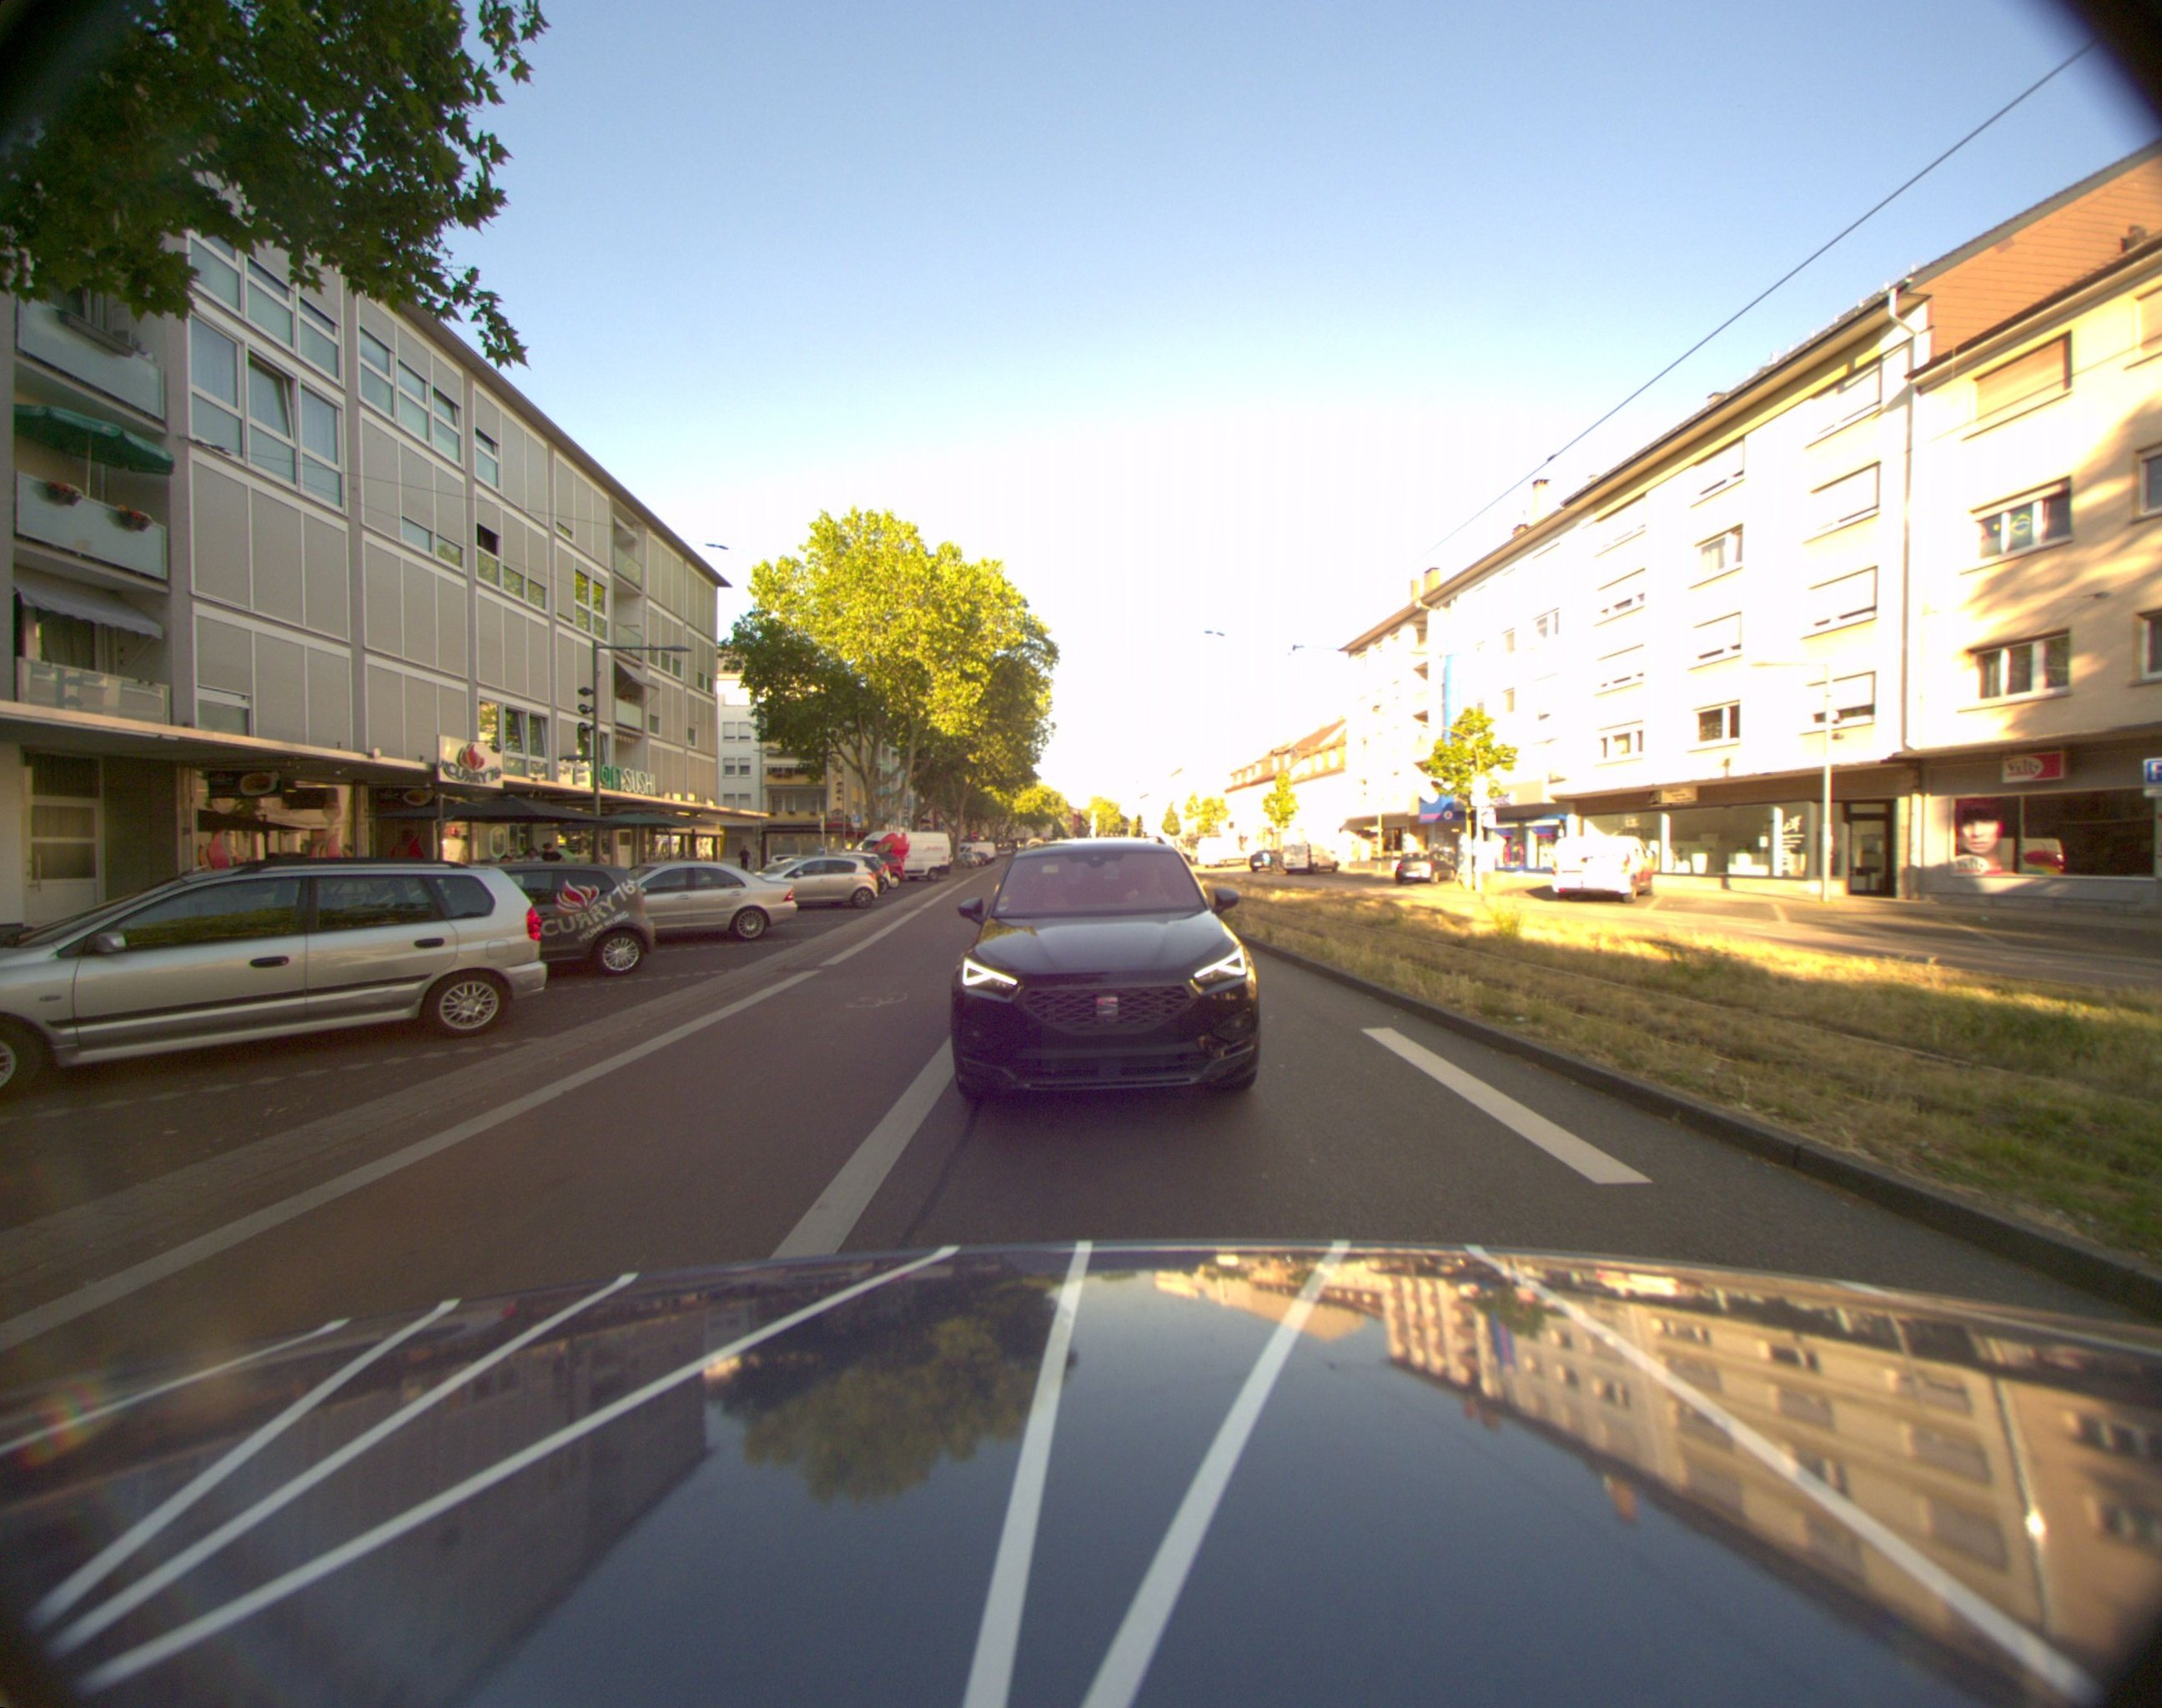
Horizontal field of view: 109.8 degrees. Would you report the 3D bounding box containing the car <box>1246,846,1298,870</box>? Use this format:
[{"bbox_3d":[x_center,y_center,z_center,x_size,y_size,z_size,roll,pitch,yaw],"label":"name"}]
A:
[{"bbox_3d":[13.751,0.285,54.667,1.874,1.577,4.008,-1,1,43],"label":"car"}]

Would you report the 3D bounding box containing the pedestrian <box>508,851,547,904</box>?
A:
[{"bbox_3d":[-15.002,0.639,20.598,0.538,1.392,0.686,2,1,-5],"label":"pedestrian"}]

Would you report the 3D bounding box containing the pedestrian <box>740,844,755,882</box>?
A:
[{"bbox_3d":[-17.922,0.470,40.839,0.578,2.002,0.551,-3,1,-33],"label":"pedestrian"}]

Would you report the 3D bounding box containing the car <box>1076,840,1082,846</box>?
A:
[{"bbox_3d":[-0.575,-3.080,211.518,1.740,1.539,3.999,0,1,0],"label":"car"}]

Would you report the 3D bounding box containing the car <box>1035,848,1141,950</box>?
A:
[{"bbox_3d":[0.065,0.687,13.861,1.659,1.571,3.999,0,1,-1],"label":"car"}]

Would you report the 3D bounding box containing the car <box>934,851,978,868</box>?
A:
[{"bbox_3d":[-10.554,0.475,64.246,3.337,1.339,1.526,0,2,-44],"label":"car"}]

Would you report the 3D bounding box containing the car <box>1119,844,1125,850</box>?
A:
[{"bbox_3d":[12.280,-2.182,228.806,1.869,1.832,3.826,0,1,2],"label":"car"}]

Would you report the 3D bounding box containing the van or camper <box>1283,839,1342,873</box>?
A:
[{"bbox_3d":[14.586,0.108,47.806,1.795,1.978,4.460,-1,1,41],"label":"van or camper"}]

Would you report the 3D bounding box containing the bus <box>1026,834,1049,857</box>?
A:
[{"bbox_3d":[-6.197,-1.298,106.539,2.873,2.962,12.231,-2,2,-4],"label":"bus"}]

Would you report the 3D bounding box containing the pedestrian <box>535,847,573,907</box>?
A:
[{"bbox_3d":[-14.437,0.621,20.831,0.538,1.582,0.686,2,1,-5],"label":"pedestrian"}]

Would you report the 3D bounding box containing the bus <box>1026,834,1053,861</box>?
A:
[{"bbox_3d":[-5.250,-0.890,94.387,2.873,2.962,12.231,-2,2,-4],"label":"bus"}]

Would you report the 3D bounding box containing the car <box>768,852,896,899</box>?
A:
[{"bbox_3d":[-8.791,0.700,27.030,4.008,1.514,1.654,0,2,-44],"label":"car"}]

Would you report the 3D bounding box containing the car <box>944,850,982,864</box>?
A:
[{"bbox_3d":[-11.481,0.255,74.036,3.337,1.339,1.526,0,2,-44],"label":"car"}]

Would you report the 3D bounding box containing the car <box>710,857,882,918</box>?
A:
[{"bbox_3d":[-7.611,0.830,20.522,4.008,1.428,1.654,0,2,-44],"label":"car"}]

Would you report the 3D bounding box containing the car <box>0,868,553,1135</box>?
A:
[{"bbox_3d":[-6.910,0.962,6.107,1.804,1.597,4.008,1,1,38],"label":"car"}]

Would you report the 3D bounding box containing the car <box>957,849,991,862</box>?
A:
[{"bbox_3d":[-11.391,0.171,81.288,3.337,1.339,1.526,0,2,-44],"label":"car"}]

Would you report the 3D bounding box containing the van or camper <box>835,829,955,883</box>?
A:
[{"bbox_3d":[-9.110,0.057,37.623,5.474,2.455,1.994,-1,1,-44],"label":"van or camper"}]

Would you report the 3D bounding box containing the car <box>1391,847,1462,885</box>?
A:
[{"bbox_3d":[15.626,0.510,34.240,1.765,1.482,4.460,-1,1,39],"label":"car"}]

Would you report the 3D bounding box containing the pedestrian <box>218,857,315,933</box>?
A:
[{"bbox_3d":[-15.157,0.745,14.171,0.750,1.354,0.962,0,1,0],"label":"pedestrian"}]

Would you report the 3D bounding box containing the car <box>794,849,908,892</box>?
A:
[{"bbox_3d":[-9.096,0.616,30.225,4.008,1.555,1.654,0,2,-44],"label":"car"}]

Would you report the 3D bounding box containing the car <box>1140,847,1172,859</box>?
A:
[{"bbox_3d":[10.168,-0.143,103.208,3.921,1.482,1.766,-3,1,-27],"label":"car"}]

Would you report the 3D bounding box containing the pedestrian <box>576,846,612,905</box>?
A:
[{"bbox_3d":[-13.452,0.581,20.989,0.538,1.582,0.686,2,1,-5],"label":"pedestrian"}]

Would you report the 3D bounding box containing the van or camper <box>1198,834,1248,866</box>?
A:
[{"bbox_3d":[12.908,-0.408,68.572,1.994,2.652,6.410,-2,1,34],"label":"van or camper"}]

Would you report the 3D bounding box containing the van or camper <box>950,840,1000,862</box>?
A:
[{"bbox_3d":[-11.828,-0.367,84.779,1.994,2.455,5.474,1,1,44],"label":"van or camper"}]

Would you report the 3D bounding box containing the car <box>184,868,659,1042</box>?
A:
[{"bbox_3d":[-7.572,0.963,9.090,1.804,1.498,4.008,1,1,38],"label":"car"}]

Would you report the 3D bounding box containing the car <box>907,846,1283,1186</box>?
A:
[{"bbox_3d":[0.098,0.790,5.784,1.808,1.638,3.999,-2,1,1],"label":"car"}]

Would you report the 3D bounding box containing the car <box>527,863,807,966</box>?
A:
[{"bbox_3d":[-7.125,0.935,13.378,1.654,1.428,4.008,2,2,43],"label":"car"}]

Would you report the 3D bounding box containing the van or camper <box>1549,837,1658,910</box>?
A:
[{"bbox_3d":[15.834,0.503,22.910,1.946,1.887,4.824,-1,1,43],"label":"van or camper"}]
